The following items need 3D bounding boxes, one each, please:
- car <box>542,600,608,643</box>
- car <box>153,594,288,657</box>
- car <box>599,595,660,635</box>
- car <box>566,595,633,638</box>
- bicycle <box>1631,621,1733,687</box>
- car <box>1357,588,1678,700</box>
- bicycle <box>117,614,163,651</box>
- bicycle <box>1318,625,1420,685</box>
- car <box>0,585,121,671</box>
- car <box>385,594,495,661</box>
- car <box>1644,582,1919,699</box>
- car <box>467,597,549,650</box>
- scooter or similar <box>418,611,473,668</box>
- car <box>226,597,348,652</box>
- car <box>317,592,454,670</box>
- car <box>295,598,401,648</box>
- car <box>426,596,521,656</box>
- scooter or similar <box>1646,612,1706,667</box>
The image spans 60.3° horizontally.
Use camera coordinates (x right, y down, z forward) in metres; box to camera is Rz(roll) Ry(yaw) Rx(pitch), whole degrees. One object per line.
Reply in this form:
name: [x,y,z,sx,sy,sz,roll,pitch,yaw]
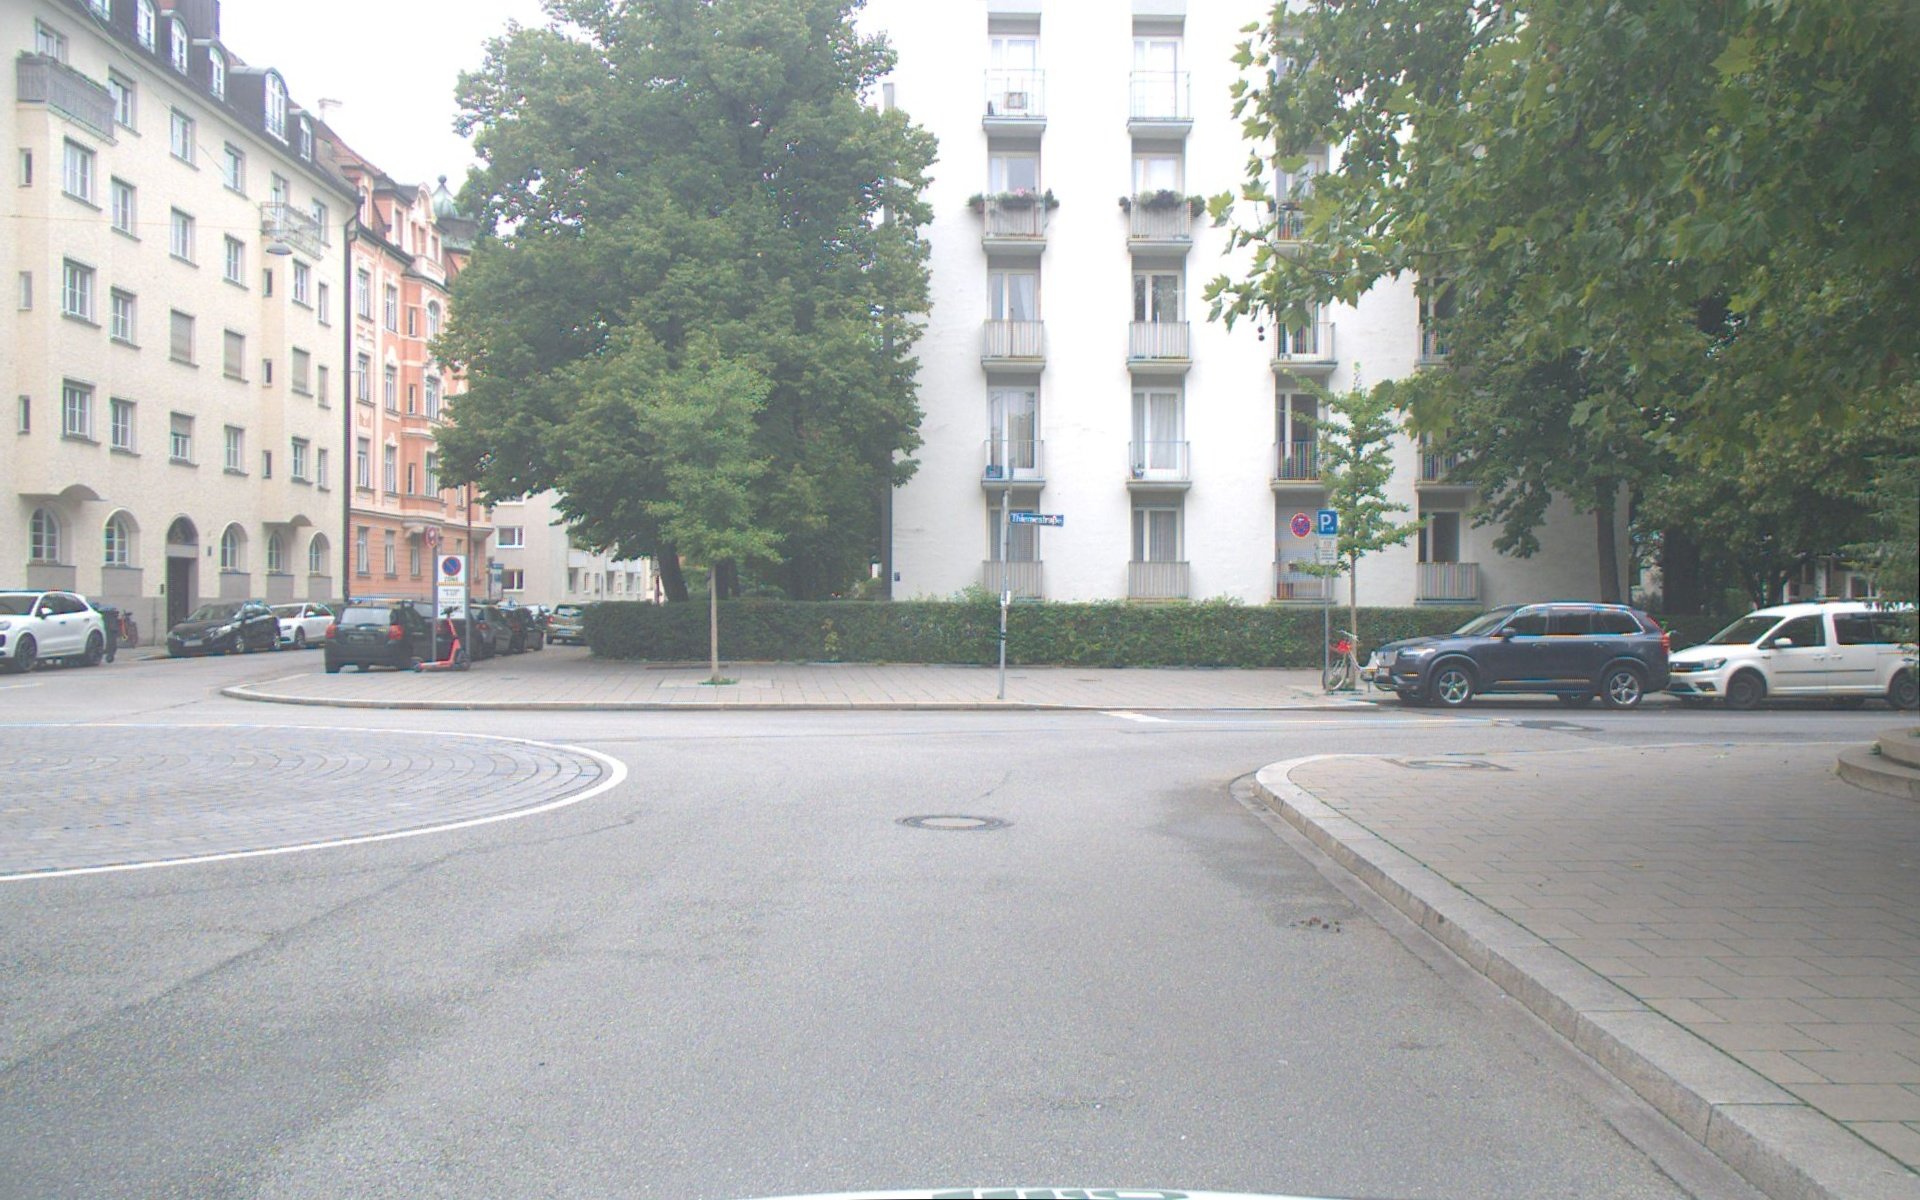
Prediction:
car: [-14.453,0.781,62.285,1.799,1.531,4.111,-1,0,-4]
car: [-20.557,0.670,46.198,1.937,1.644,4.708,1,0,-4]
car: [-14.475,0.634,72.566,1.797,1.663,3.820,-1,0,1]
car: [-14.547,0.648,66.897,1.797,1.663,4.115,-1,0,0]
bicycle: [13.467,0.986,30.886,0.530,1.169,1.813,0,0,-28]
car: [9.406,0.744,28.126,4.802,1.823,1.997,0,-1,-6]
bicycle: [-24.814,0.967,50.080,0.551,1.067,1.830,0,0,-2]
bicycle: [7.546,1.005,30.510,1.792,1.067,0.490,0,0,-12]
car: [-20.221,0.548,35.641,1.935,1.730,4.839,1,0,-2]
car: [-12.767,0.646,40.874,1.759,1.531,4.229,-1,0,-6]
car: [14.633,0.699,28.820,4.741,1.952,1.833,0,-1,-7]
car: [-13.942,0.707,51.184,1.759,1.531,4.110,-1,0,-6]
scooter or similar: [-10.239,0.784,32.946,0.988,1.107,0.387,1,0,-29]
car: [-20.695,0.721,51.080,1.935,1.608,4.408,1,0,0]
car: [-12.283,0.621,35.637,1.784,1.531,4.416,-1,0,-6]
car: [-20.742,0.759,56.247,1.935,1.608,4.408,1,0,0]
car: [-13.313,0.672,45.429,1.759,1.531,4.110,-1,0,-6]
scooter or similar: [15.986,0.883,36.928,1.187,1.214,0.400,1,0,-3]
